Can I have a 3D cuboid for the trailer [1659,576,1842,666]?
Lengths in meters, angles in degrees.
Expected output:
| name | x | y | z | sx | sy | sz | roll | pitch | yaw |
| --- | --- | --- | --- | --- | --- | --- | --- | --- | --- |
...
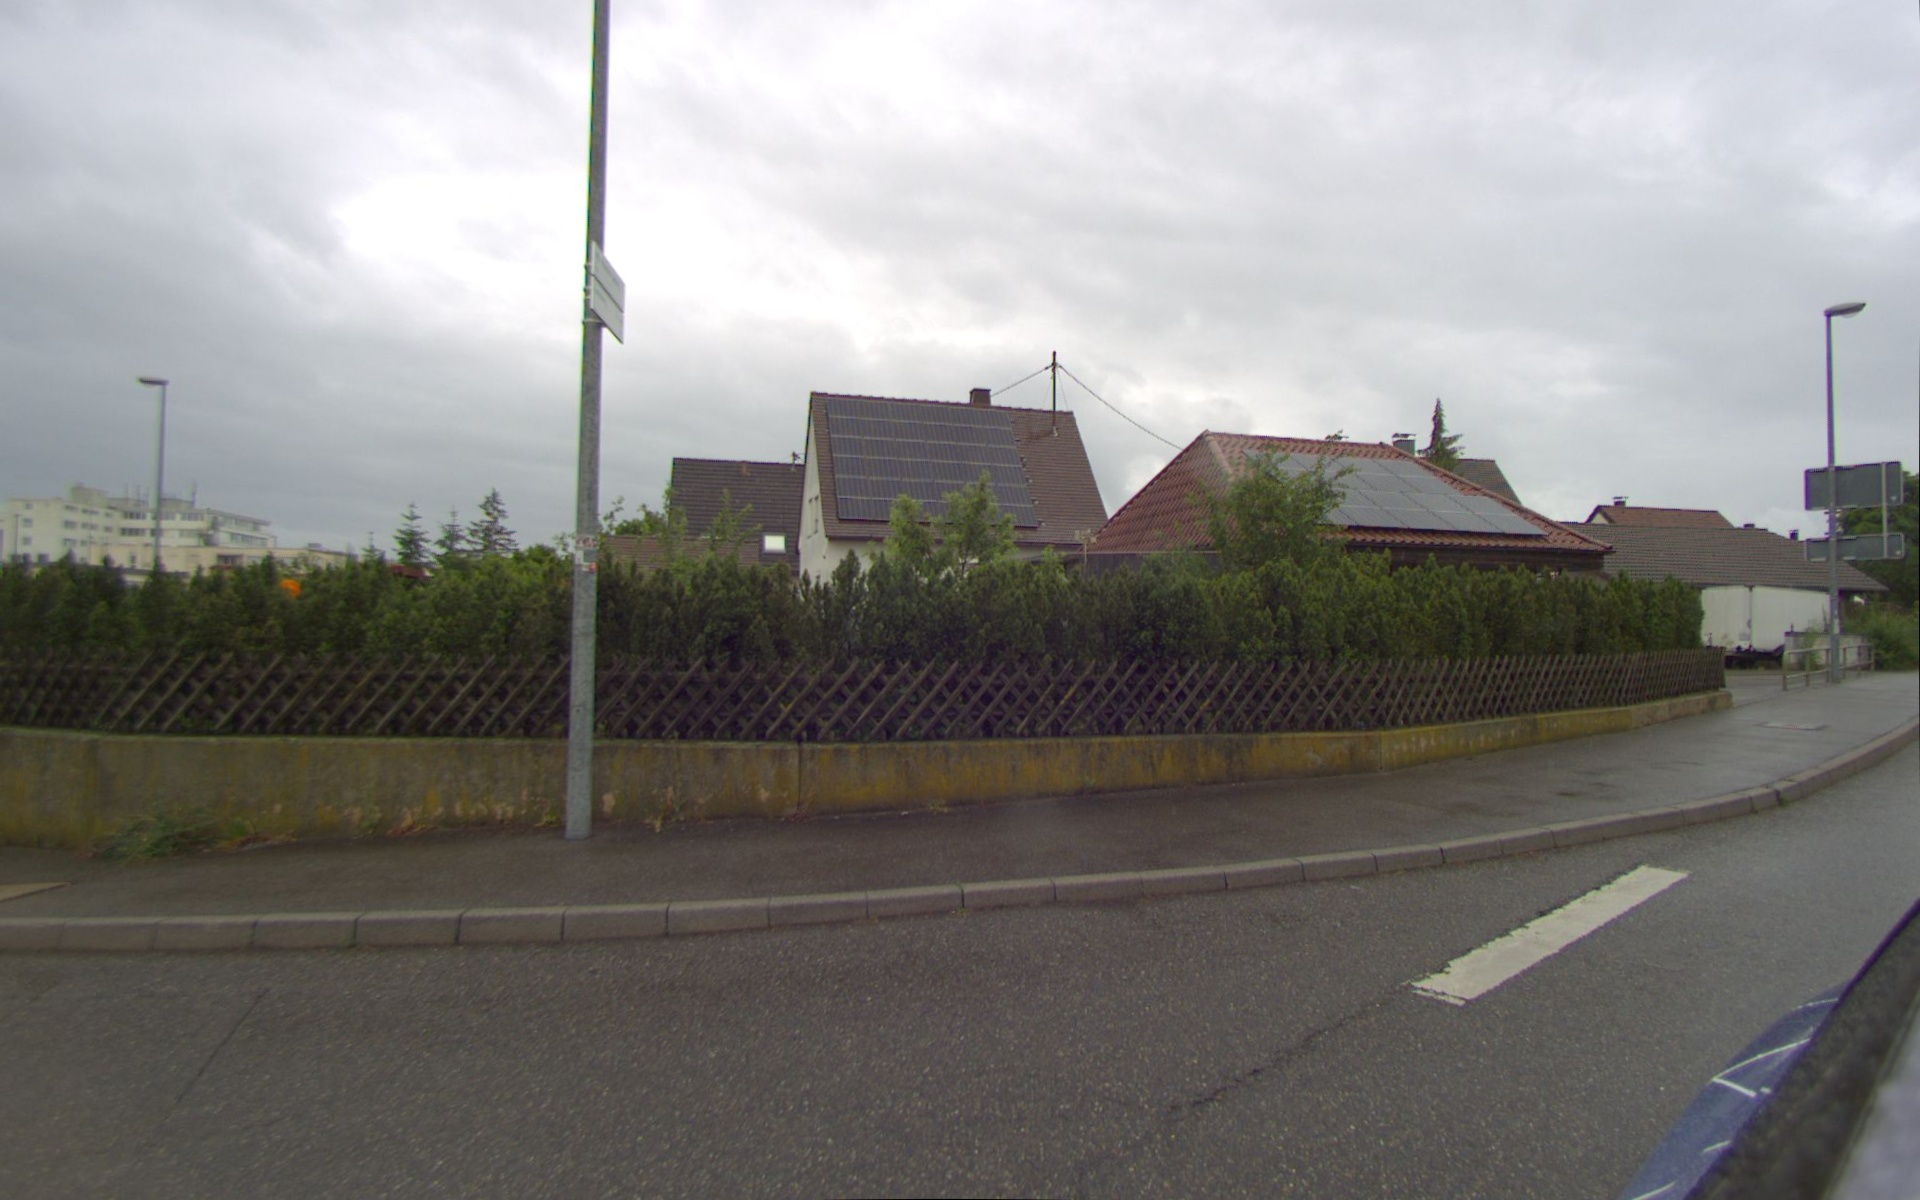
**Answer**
| name | x | y | z | sx | sy | sz | roll | pitch | yaw |
| --- | --- | --- | --- | --- | --- | --- | --- | --- | --- |
| trailer | 23.353 | 0.620 | 29.950 | 4.605 | 2.550 | 1.652 | 0 | -2 | -12 |
